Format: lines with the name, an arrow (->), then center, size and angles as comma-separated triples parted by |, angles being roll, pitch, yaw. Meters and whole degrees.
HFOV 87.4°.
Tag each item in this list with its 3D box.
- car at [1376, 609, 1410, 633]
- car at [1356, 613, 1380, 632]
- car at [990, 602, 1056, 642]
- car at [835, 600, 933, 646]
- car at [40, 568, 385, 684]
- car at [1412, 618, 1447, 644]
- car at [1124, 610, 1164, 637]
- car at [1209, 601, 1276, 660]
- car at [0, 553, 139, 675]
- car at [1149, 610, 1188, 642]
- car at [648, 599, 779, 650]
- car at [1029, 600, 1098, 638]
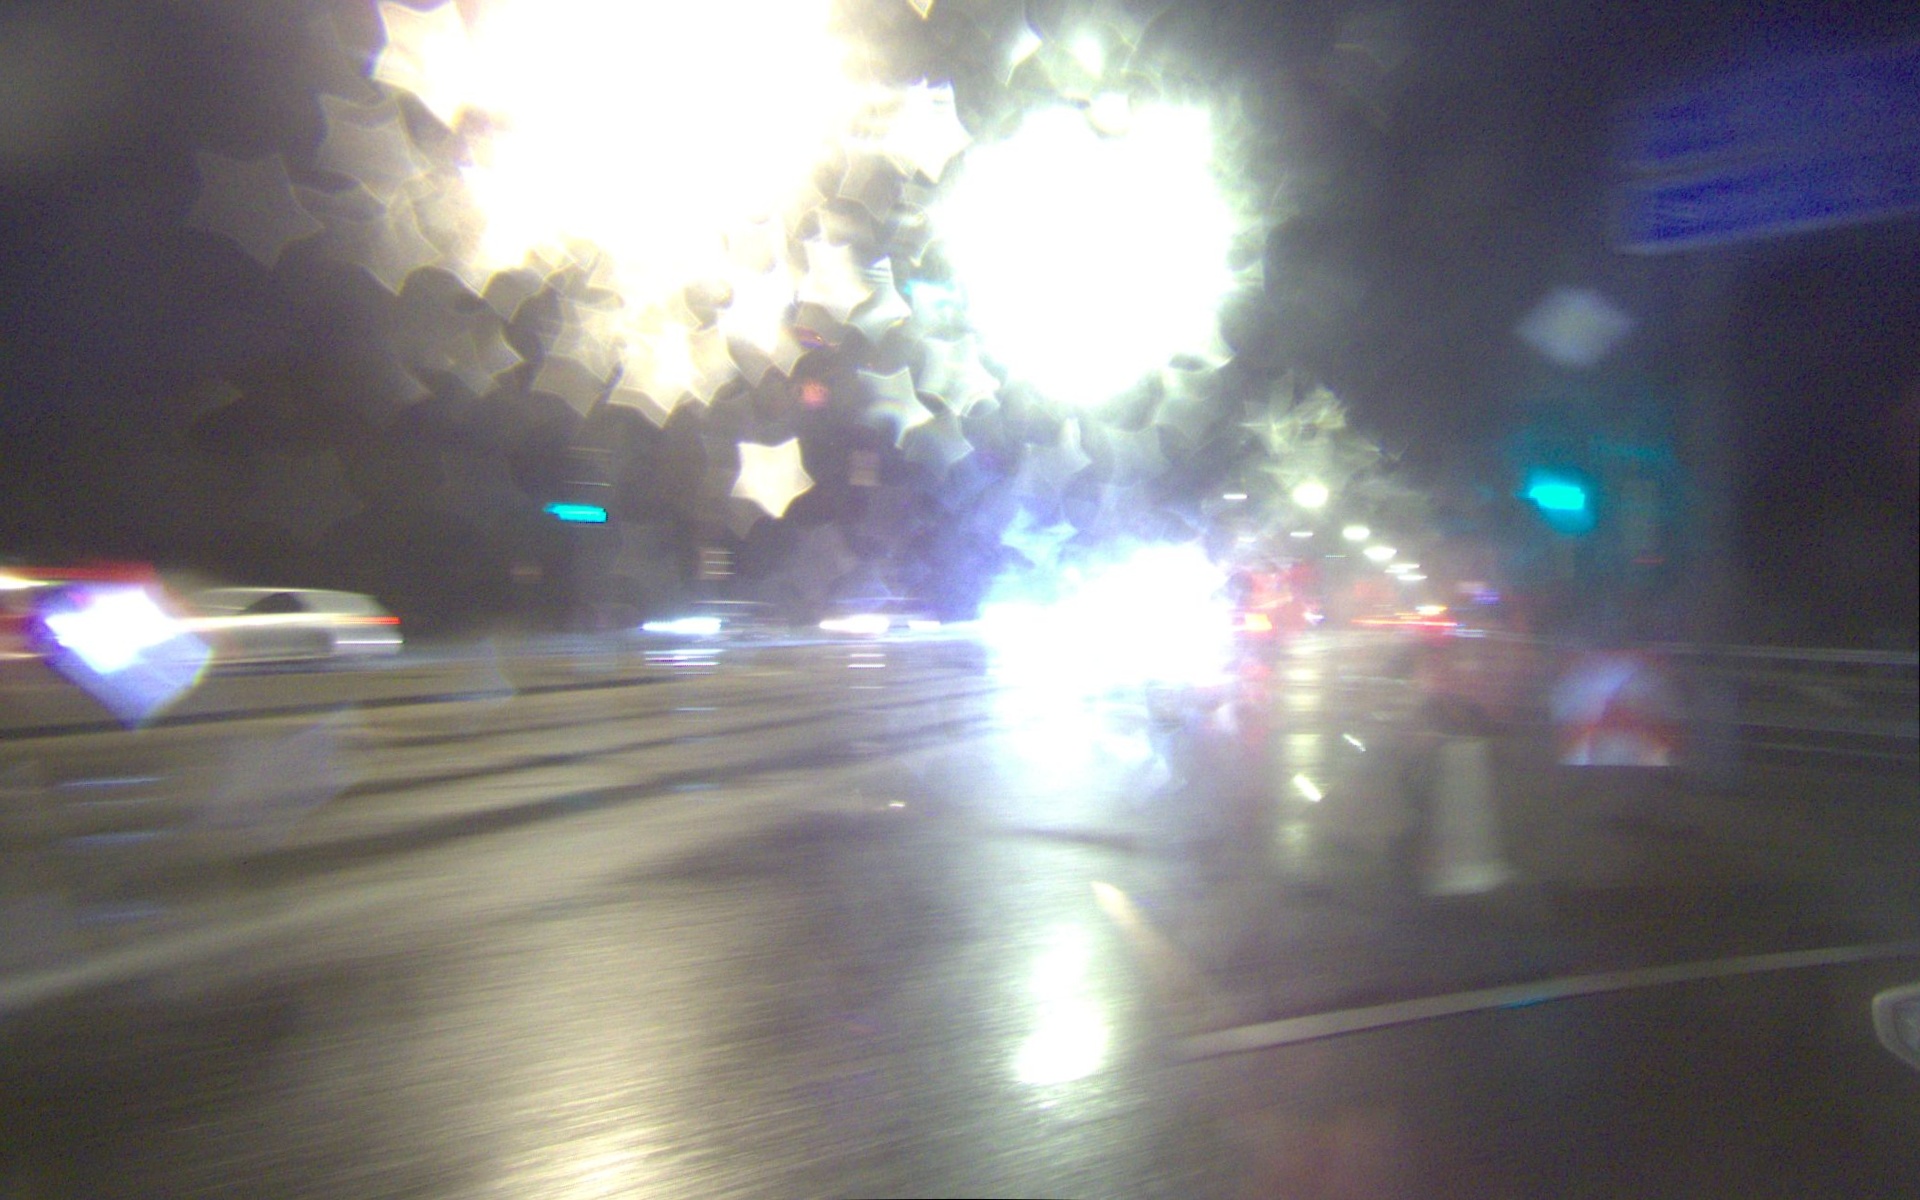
car -> 36.195, 1.775, 83.831 | 2.145, 1.622, 3.995 | 6, 0, 28
car -> 41.720, 2.299, 102.712 | 2.143, 1.622, 4.000 | 6, 0, 22
car -> 3.449, 1.198, 54.437 | 1.861, 2.044, 4.345 | 1, 0, 29
car -> -2.599, 0.788, 35.247 | 1.639, 1.468, 3.814 | 1, 0, 27
car -> -12.074, 0.345, 16.554 | 1.755, 1.630, 4.236 | 2, 1, 29
car -> 35.849, 2.366, 76.636 | 1.883, 1.622, 3.993 | 6, 0, 31
car -> 13.593, 1.738, 74.133 | 1.723, 1.864, 4.009 | 1, 0, 28
car -> 8.819, 0.893, 31.273 | 1.766, 1.471, 4.269 | 5, 2, 17
car -> -15.958, 0.199, 15.923 | 1.735, 1.917, 4.200 | 1, 0, 27
car -> 14.224, 1.740, 68.460 | 1.565, 2.040, 3.786 | 1, 0, 28
car -> -7.739, 0.751, 31.909 | 1.820, 1.475, 4.091 | 1, 0, 27
car -> 4.202, 0.746, 40.487 | 1.566, 1.446, 3.345 | 1, 0, 29
